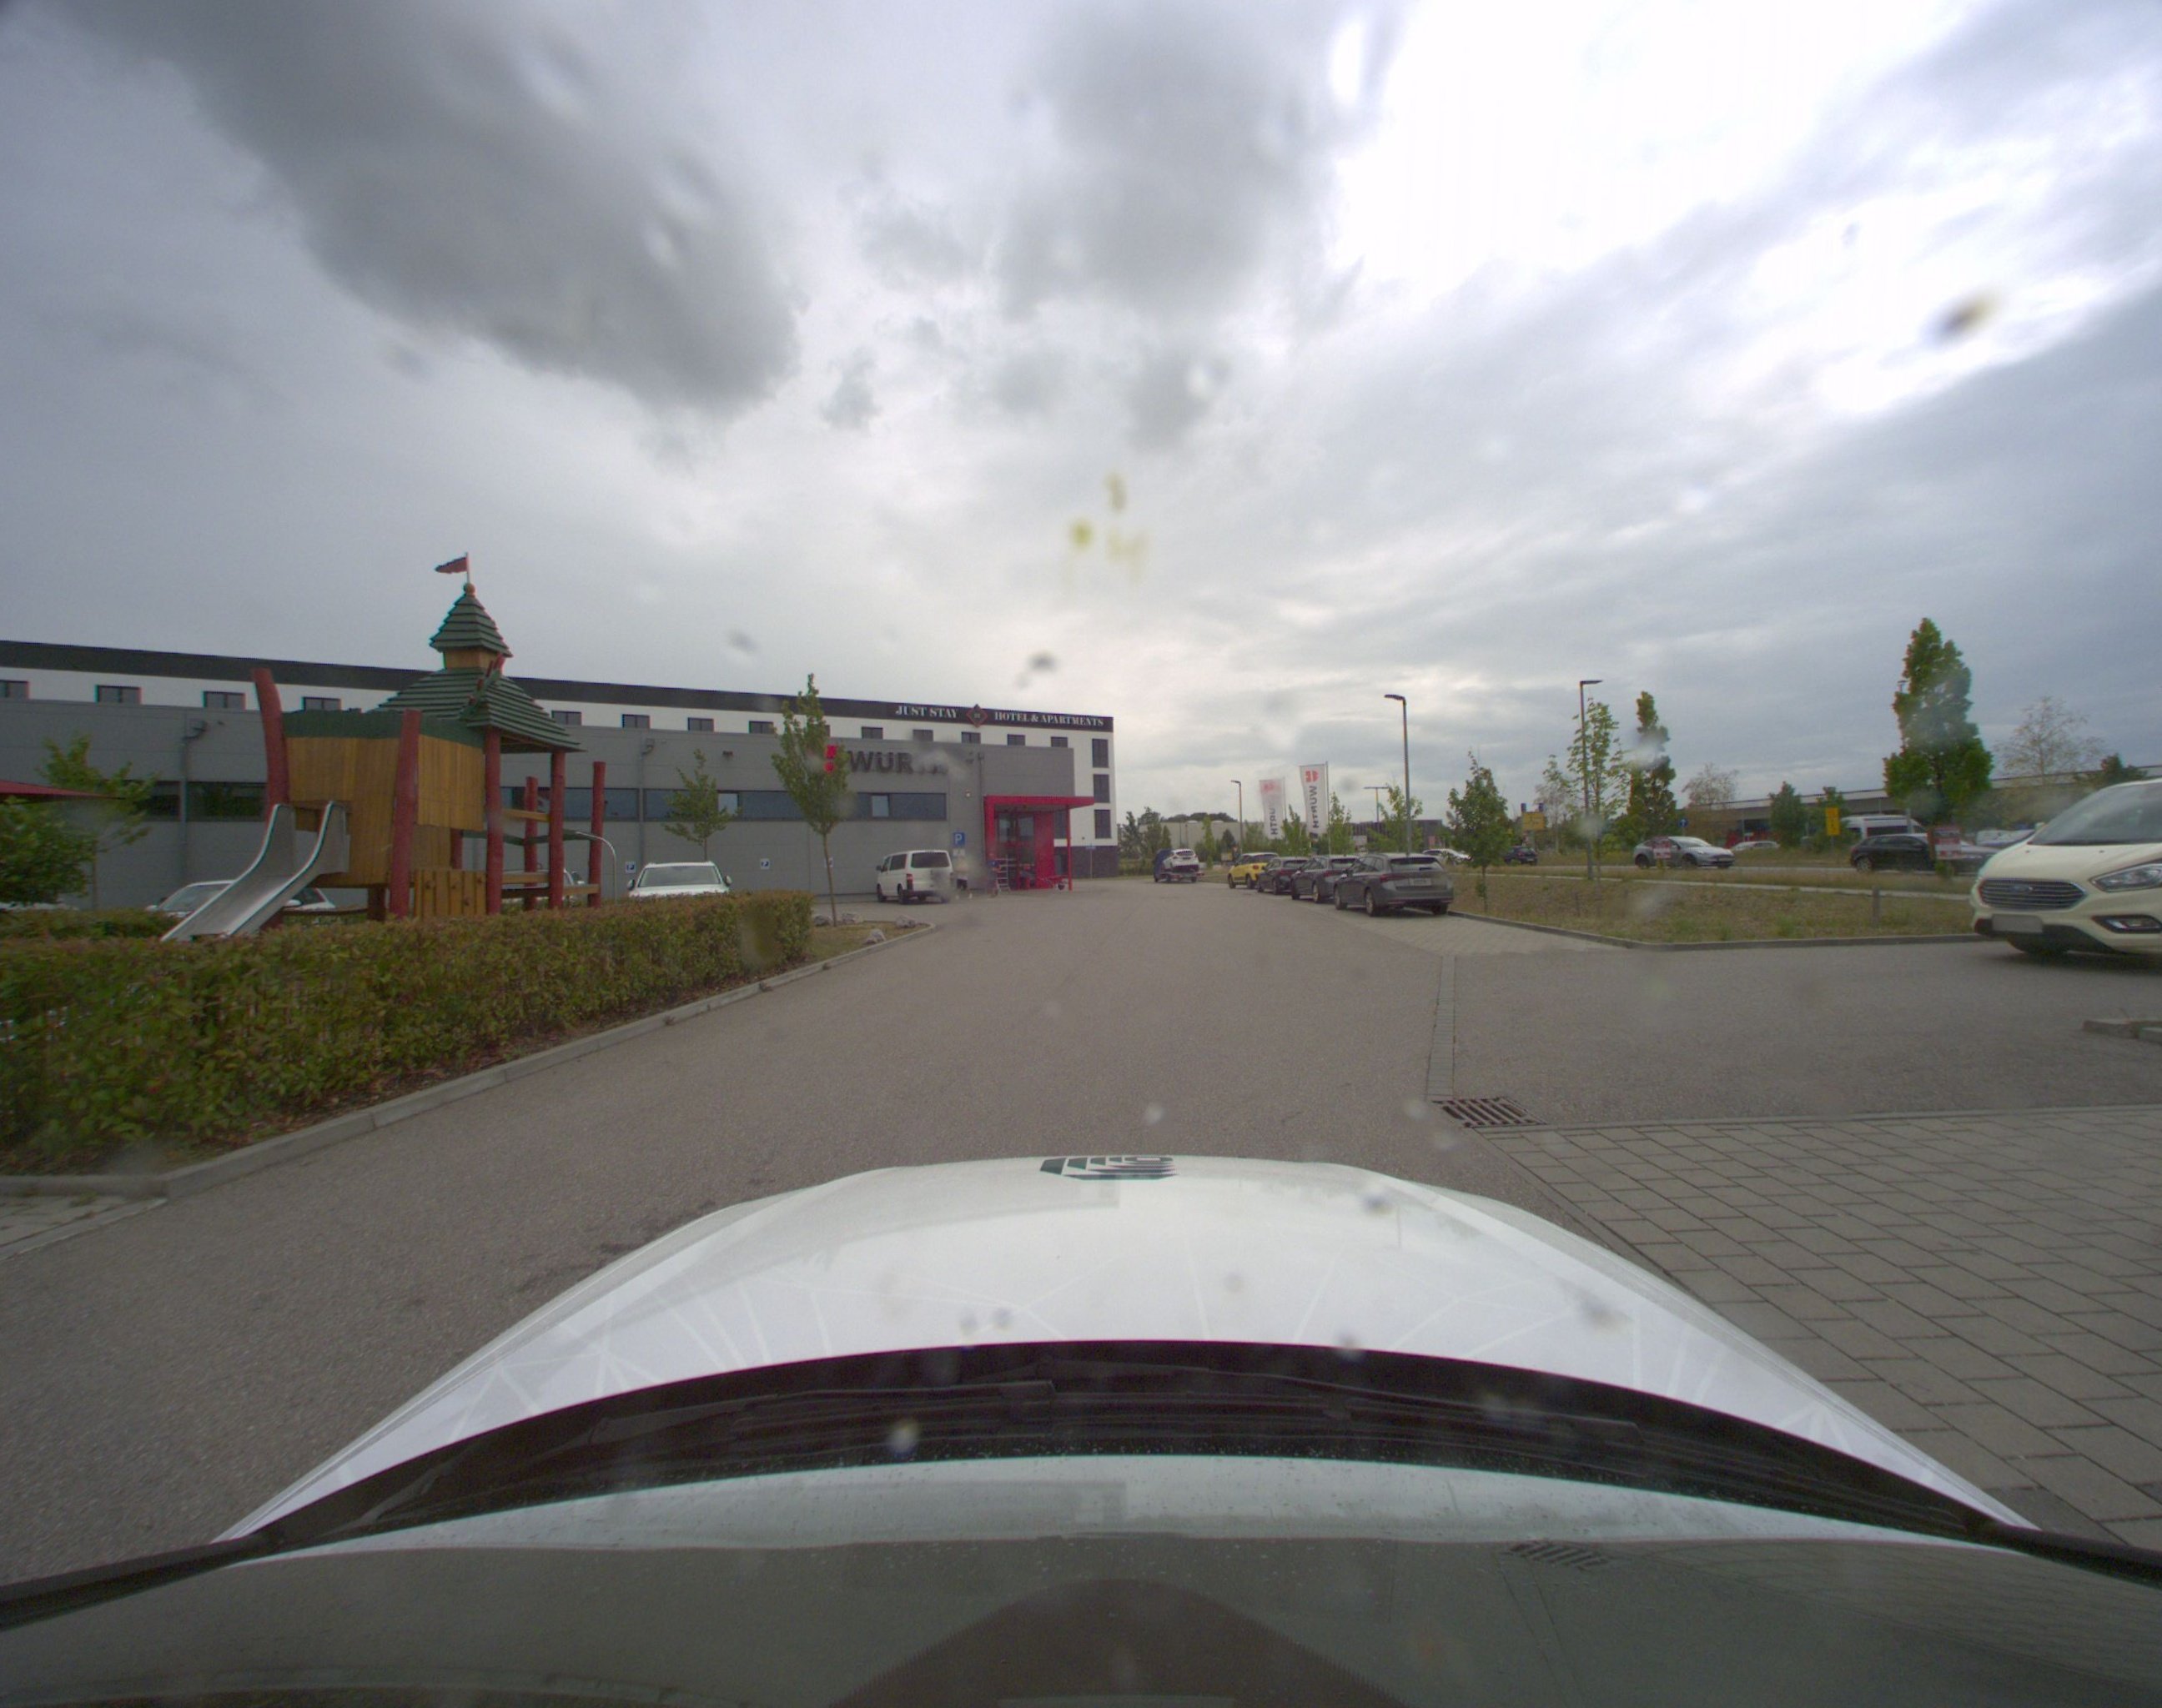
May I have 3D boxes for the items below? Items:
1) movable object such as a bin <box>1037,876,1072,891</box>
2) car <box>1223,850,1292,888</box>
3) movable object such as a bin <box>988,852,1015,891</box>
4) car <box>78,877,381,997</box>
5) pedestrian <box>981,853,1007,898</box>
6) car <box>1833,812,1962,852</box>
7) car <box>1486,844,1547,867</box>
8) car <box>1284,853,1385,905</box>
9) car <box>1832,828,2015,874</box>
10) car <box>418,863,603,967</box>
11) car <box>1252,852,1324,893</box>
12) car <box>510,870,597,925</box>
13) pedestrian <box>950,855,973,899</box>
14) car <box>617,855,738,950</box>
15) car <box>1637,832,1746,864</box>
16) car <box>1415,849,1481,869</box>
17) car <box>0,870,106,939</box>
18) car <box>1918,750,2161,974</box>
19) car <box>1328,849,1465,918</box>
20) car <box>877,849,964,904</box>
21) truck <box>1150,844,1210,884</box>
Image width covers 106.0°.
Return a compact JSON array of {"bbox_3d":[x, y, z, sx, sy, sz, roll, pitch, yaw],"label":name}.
[{"bbox_3d":[-1.306,1.429,40.043,1.493,0.704,0.958,-1,-1,-21],"label":"movable object such as a bin"},{"bbox_3d":[8.280,0.714,38.534,1.856,1.650,3.988,0,-1,-9],"label":"car"},{"bbox_3d":[-3.585,0.785,36.556,0.915,1.672,0.737,-4,0,-27],"label":"movable object such as a bin"},{"bbox_3d":[-14.751,1.317,14.552,2.002,1.650,4.543,-3,-1,-22],"label":"car"},{"bbox_3d":[-3.612,0.881,33.853,0.671,1.802,0.884,-2,-1,19],"label":"pedestrian"},{"bbox_3d":[51.558,-1.357,51.542,5.555,2.122,2.342,-4,-1,3],"label":"car"},{"bbox_3d":[31.885,0.153,59.779,1.919,1.486,4.417,-3,-1,-2],"label":"car"},{"bbox_3d":[7.899,0.741,25.785,1.746,1.469,4.474,-1,-1,-1],"label":"car"},{"bbox_3d":[28.219,-0.073,27.507,1.758,1.395,4.217,-2,-1,-1],"label":"car"},{"bbox_3d":[-11.119,1.113,16.285,2.002,1.650,4.543,-3,-1,-22],"label":"car"},{"bbox_3d":[8.098,0.705,32.170,1.746,1.469,4.106,-1,-1,-1],"label":"car"},{"bbox_3d":[-17.160,1.383,26.685,1.745,1.552,4.228,-3,-1,-25],"label":"car"},{"bbox_3d":[-4.861,0.922,33.121,0.620,1.751,0.908,-2,-1,10],"label":"pedestrian"},{"bbox_3d":[-8.567,0.971,17.584,2.003,1.650,4.541,-3,-1,-24],"label":"car"},{"bbox_3d":[29.285,-0.265,39.293,1.758,1.395,4.556,-2,-1,-1],"label":"car"},{"bbox_3d":[26.601,0.383,59.246,1.767,1.395,4.530,-2,-1,-18],"label":"car"},{"bbox_3d":[-27.619,1.328,20.685,2.006,1.638,4.760,-3,-1,-29],"label":"car"},{"bbox_3d":[12.408,-0.025,8.357,5.185,2.086,2.004,-2,0,7],"label":"car"},{"bbox_3d":[7.591,0.663,20.080,1.745,1.469,4.478,-1,-1,2],"label":"car"},{"bbox_3d":[-6.226,0.867,31.192,2.067,1.855,4.023,-3,-1,-29],"label":"car"},{"bbox_3d":[6.551,0.675,55.162,2.328,2.406,7.880,-3,0,-5],"label":"truck"}]
